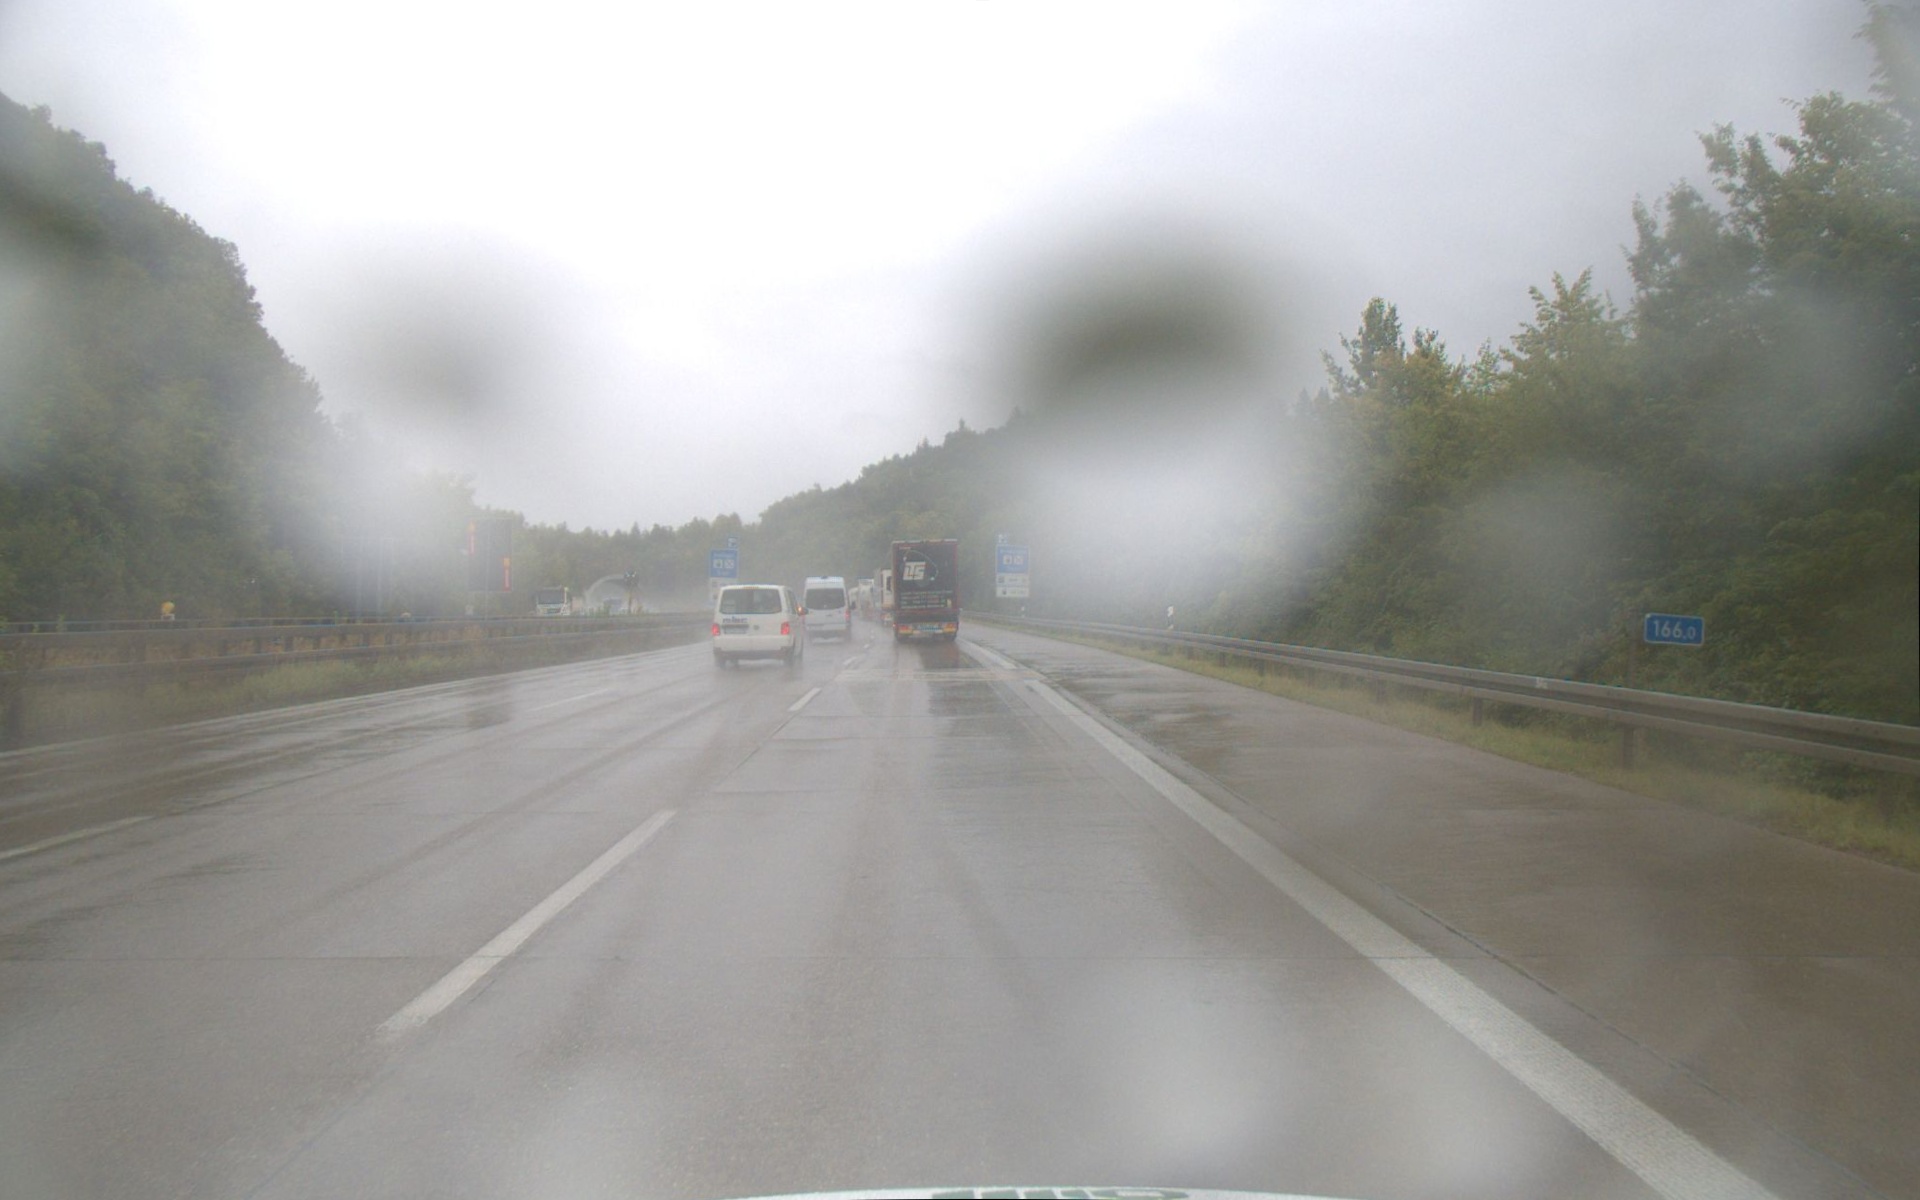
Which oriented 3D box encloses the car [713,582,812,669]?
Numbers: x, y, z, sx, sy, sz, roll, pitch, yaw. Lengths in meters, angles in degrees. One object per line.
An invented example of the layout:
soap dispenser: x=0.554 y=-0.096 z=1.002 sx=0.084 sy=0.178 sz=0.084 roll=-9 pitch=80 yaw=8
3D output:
car: x=-4.682 y=0.582 z=39.868 sx=1.861 sy=1.927 sz=5.041 roll=1 pitch=0 yaw=-1

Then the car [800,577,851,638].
car: x=-5.516 y=0.283 z=67.325 sx=1.863 sy=2.375 sz=5.243 roll=1 pitch=0 yaw=-6

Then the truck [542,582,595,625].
truck: x=-29.127 y=0.274 z=123.302 sx=2.251 sy=3.071 sz=7.920 roll=1 pitch=0 yaw=-1

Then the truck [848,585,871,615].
truck: x=-11.112 y=-0.040 z=182.371 sx=1.956 sy=3.225 sz=6.720 roll=0 pitch=0 yaw=-8

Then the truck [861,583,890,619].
truck: x=-7.756 y=0.112 z=150.998 sx=1.956 sy=3.225 sz=6.720 roll=0 pitch=0 yaw=-8

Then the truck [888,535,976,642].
truck: x=-1.217 y=-0.561 z=68.242 sx=3.317 sy=4.037 sz=8.664 roll=-2 pitch=2 yaw=-2

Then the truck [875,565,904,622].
truck: x=-4.990 y=-0.426 z=116.745 sx=1.954 sy=3.872 sz=6.729 roll=0 pitch=0 yaw=-3
